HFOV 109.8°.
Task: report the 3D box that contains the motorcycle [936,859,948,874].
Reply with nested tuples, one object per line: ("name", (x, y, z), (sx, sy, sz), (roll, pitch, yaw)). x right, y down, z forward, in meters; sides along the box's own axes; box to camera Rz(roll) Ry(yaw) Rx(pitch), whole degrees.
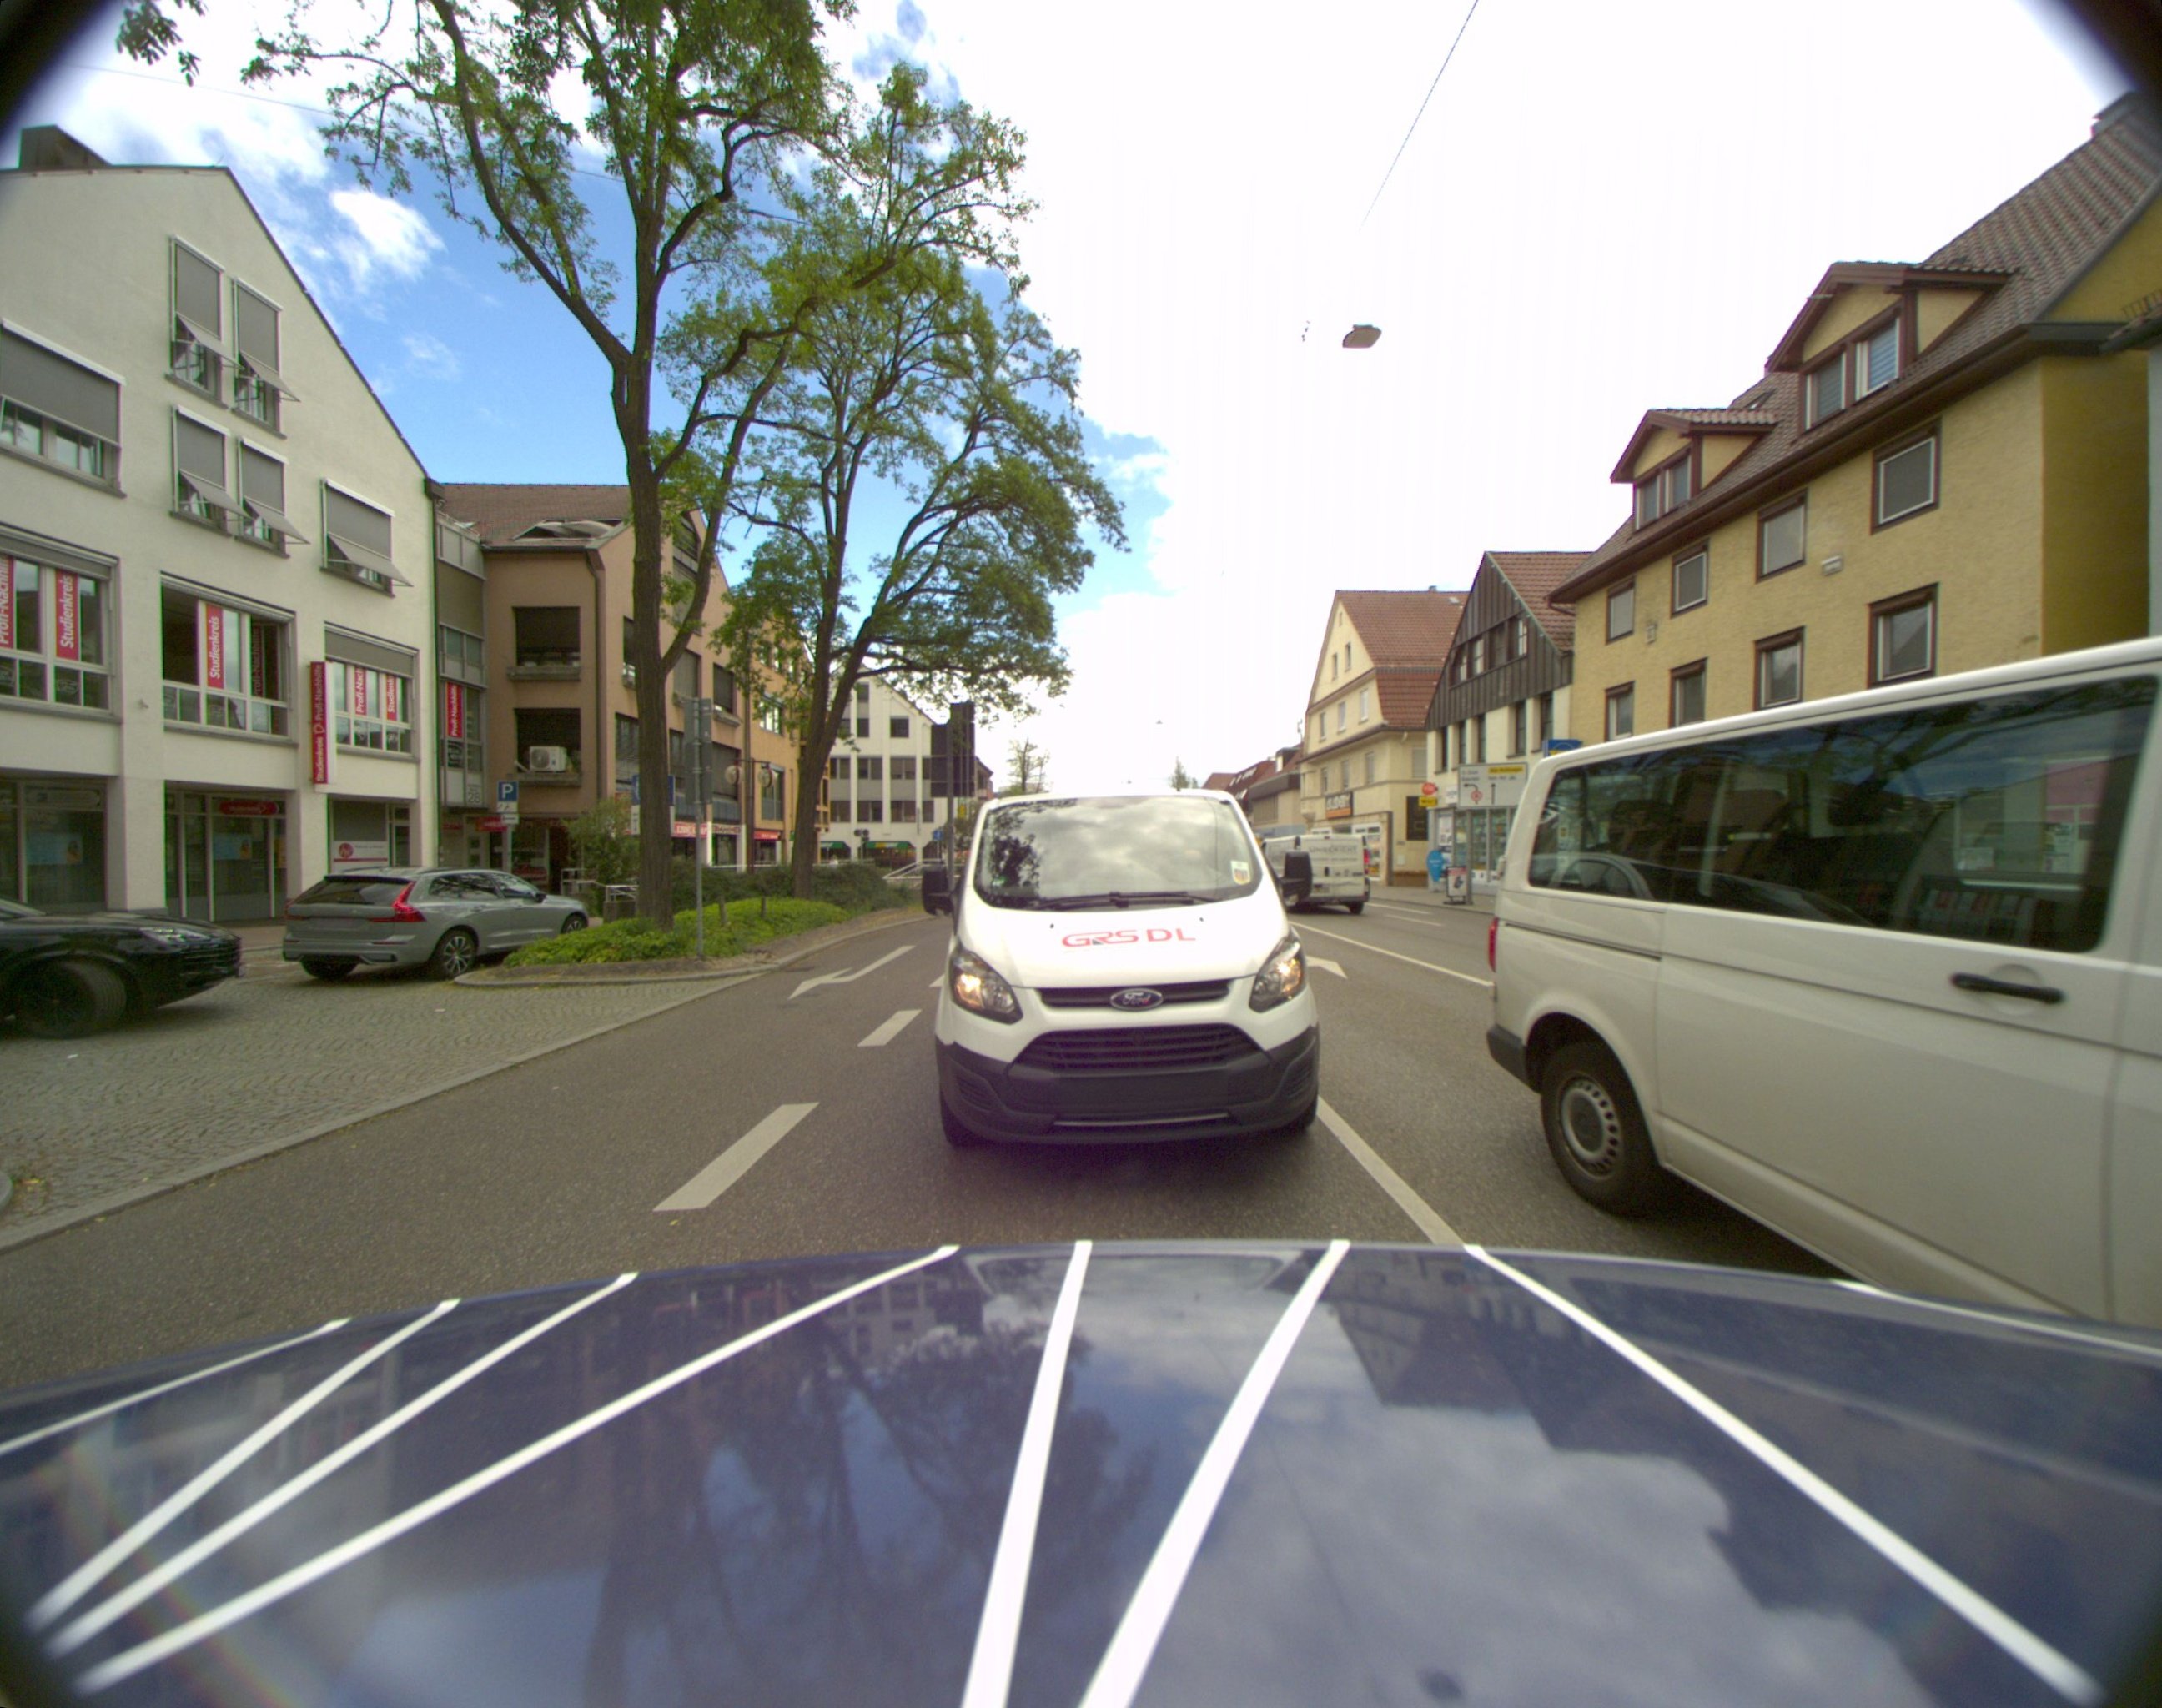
("motorcycle", (-9.993, 0.875, 54.631), (0.464, 1.062, 1.995), (-1, 0, 0))

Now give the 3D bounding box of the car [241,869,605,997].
("car", (-10.304, 1.108, 12.579), (1.999, 1.586, 4.762), (0, 0, -2))

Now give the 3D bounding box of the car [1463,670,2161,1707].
("car", (2.852, 0.636, 1.484), (1.830, 1.948, 4.852), (-1, 0, 1))

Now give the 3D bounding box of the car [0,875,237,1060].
("car", (-11.420, 1.075, 7.056), (4.673, 1.660, 1.853), (0, 0, -44))

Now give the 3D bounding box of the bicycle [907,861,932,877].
("bicycle", (-10.425, 0.949, 48.999), (1.594, 0.996, 0.414), (-1, 1, -13))

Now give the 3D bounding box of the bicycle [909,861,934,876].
("bicycle", (-10.447, 0.954, 49.755), (1.594, 0.963, 0.461), (-1, 1, -14))

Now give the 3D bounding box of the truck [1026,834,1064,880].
("truck", (-2.915, 0.170, 63.518), (2.446, 3.464, 8.346), (-2, 1, 1))

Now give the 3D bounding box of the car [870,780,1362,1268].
("car", (0.155, 0.695, 5.707), (1.964, 1.948, 5.164), (-2, 0, 0))

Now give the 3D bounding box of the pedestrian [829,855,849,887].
("pedestrian", (-14.103, 1.000, 44.244), (0.871, 1.812, 0.785), (-2, 1, -4))

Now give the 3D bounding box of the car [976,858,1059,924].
("car", (-1.646, 0.927, 21.398), (1.999, 1.514, 5.157), (1, 1, -1))

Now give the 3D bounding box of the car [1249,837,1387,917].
("car", (6.176, 0.548, 20.554), (1.999, 1.877, 5.157), (1, 0, -1))
